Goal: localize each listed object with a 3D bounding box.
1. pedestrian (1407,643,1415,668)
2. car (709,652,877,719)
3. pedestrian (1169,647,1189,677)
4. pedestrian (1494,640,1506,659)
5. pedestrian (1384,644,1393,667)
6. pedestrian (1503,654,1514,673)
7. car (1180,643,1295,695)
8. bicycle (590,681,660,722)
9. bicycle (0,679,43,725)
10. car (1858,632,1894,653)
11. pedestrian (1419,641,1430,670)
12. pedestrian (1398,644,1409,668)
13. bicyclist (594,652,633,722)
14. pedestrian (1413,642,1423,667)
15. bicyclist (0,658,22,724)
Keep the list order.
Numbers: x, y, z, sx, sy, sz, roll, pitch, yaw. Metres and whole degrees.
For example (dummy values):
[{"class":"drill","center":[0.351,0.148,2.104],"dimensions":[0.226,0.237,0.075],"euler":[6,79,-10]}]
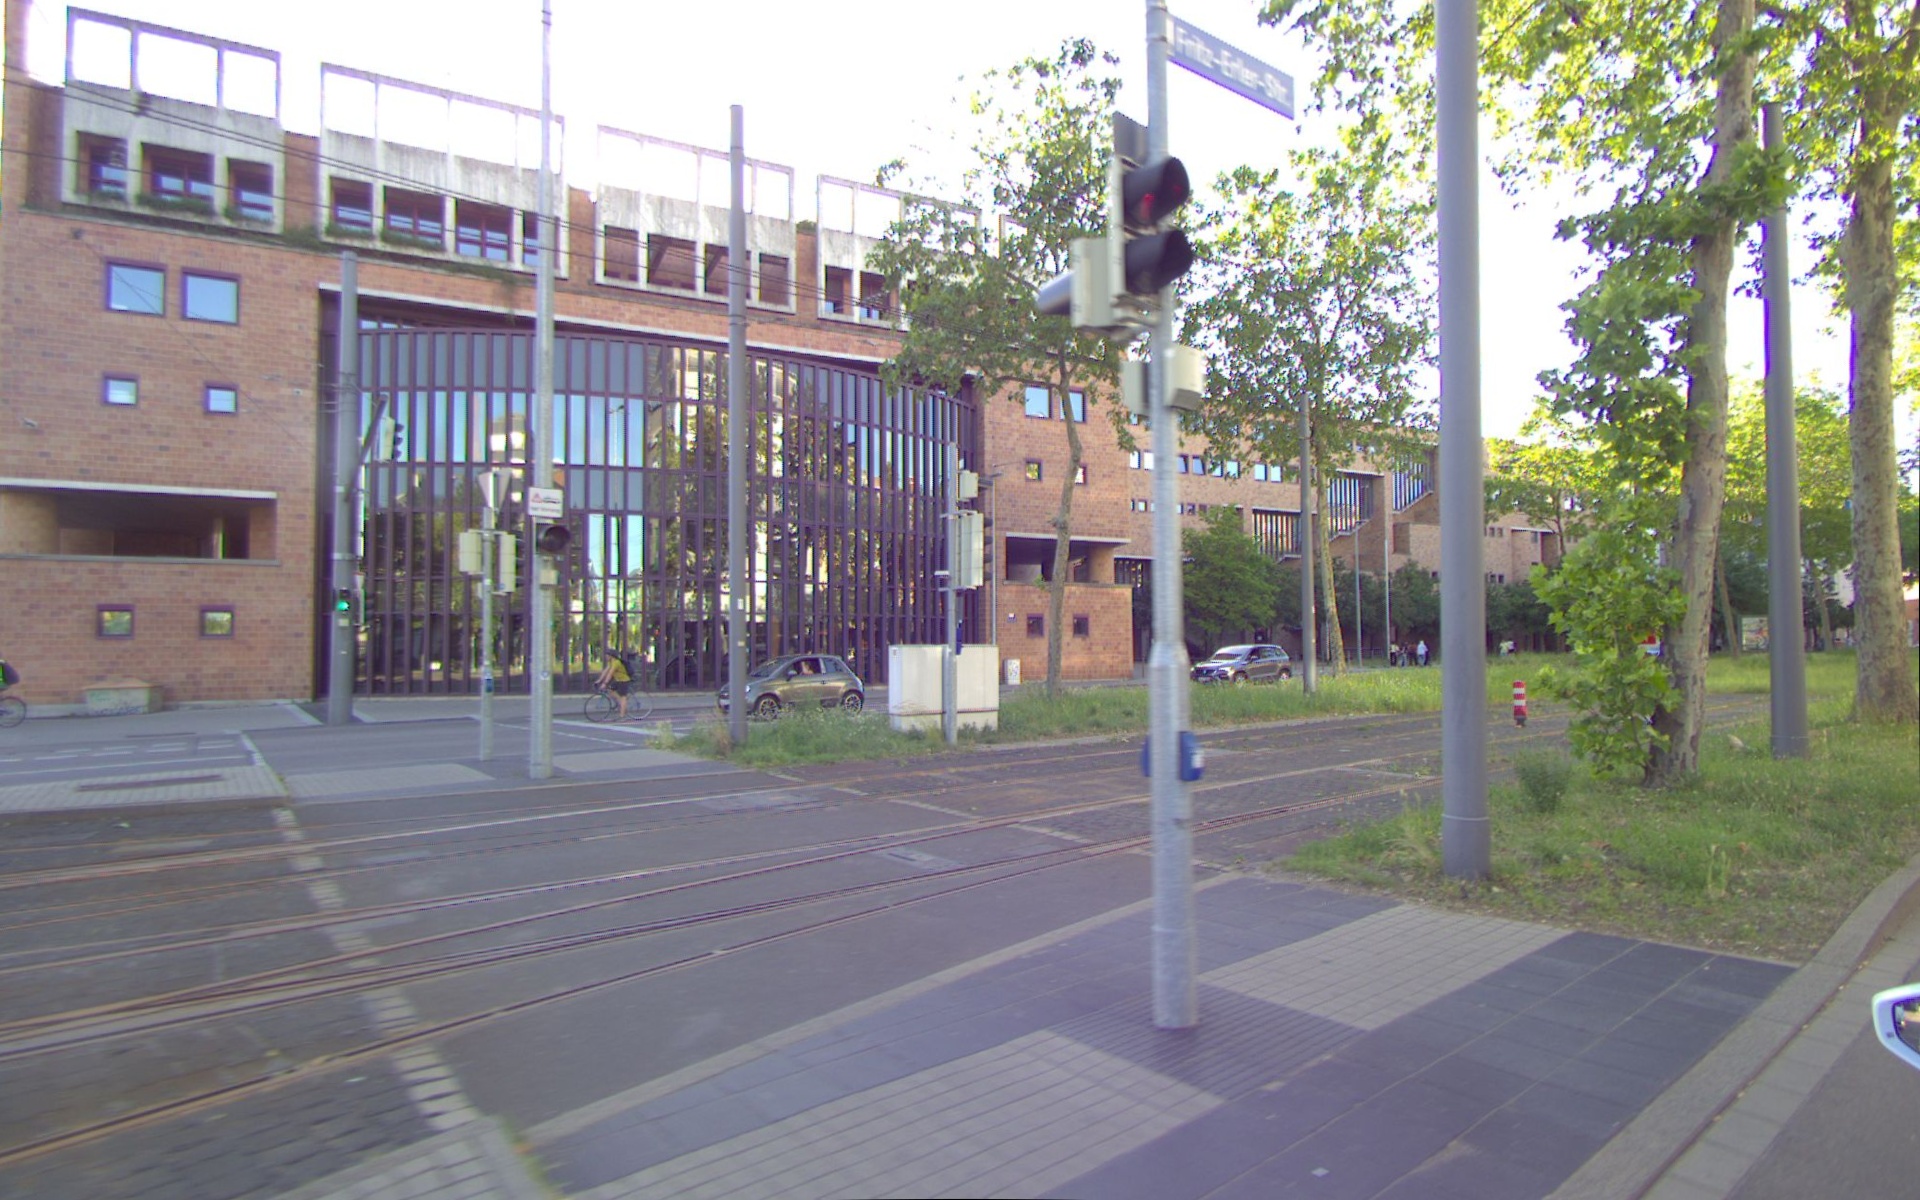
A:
[{"class":"pedestrian","center":[27.701,3.405,61.715],"dimensions":[0.338,1.476,0.316],"euler":[1,-3,-32]},{"class":"car","center":[-3.922,1.963,23.794],"dimensions":[3.591,1.345,1.637],"euler":[0,-2,-39]},{"class":"pedestrian","center":[14.338,4.045,65.840],"dimensions":[0.869,1.906,0.973],"euler":[1,-2,-28]},{"class":"pedestrian","center":[36.967,3.383,68.739],"dimensions":[0.516,1.308,0.499],"euler":[1,-2,-33]},{"class":"pedestrian","center":[26.094,3.376,61.113],"dimensions":[0.328,1.438,0.362],"euler":[1,-3,-30]},{"class":"pedestrian","center":[38.798,4.507,71.037],"dimensions":[0.516,1.308,0.499],"euler":[1,-2,-33]},{"class":"car","center":[9.630,2.319,34.739],"dimensions":[4.309,1.582,1.806],"euler":[0,-2,-42]},{"class":"bicycle","center":[-8.102,2.444,24.289],"dimensions":[1.548,0.925,0.533],"euler":[1,-3,-26]},{"class":"bicycle","center":[-23.873,2.502,24.675],"dimensions":[1.888,1.093,0.615],"euler":[1,-2,-15]},{"class":"car","center":[78.876,3.645,86.474],"dimensions":[3.971,1.708,1.883],"euler":[2,-3,-42]},{"class":"pedestrian","center":[28.512,3.409,61.656],"dimensions":[0.474,1.727,0.434],"euler":[1,-3,-31]},{"class":"pedestrian","center":[26.751,3.380,60.562],"dimensions":[0.453,1.435,0.389],"euler":[1,-3,-31]},{"class":"bicyclist","center":[-8.341,2.079,24.194],"dimensions":[0.804,1.643,0.620],"euler":[1,-2,-26]},{"class":"pedestrian","center":[27.991,3.340,61.352],"dimensions":[0.418,1.543,0.363],"euler":[1,-3,-30]},{"class":"bicyclist","center":[-23.871,2.232,24.699],"dimensions":[0.912,1.611,0.684],"euler":[0,-2,-15]}]
